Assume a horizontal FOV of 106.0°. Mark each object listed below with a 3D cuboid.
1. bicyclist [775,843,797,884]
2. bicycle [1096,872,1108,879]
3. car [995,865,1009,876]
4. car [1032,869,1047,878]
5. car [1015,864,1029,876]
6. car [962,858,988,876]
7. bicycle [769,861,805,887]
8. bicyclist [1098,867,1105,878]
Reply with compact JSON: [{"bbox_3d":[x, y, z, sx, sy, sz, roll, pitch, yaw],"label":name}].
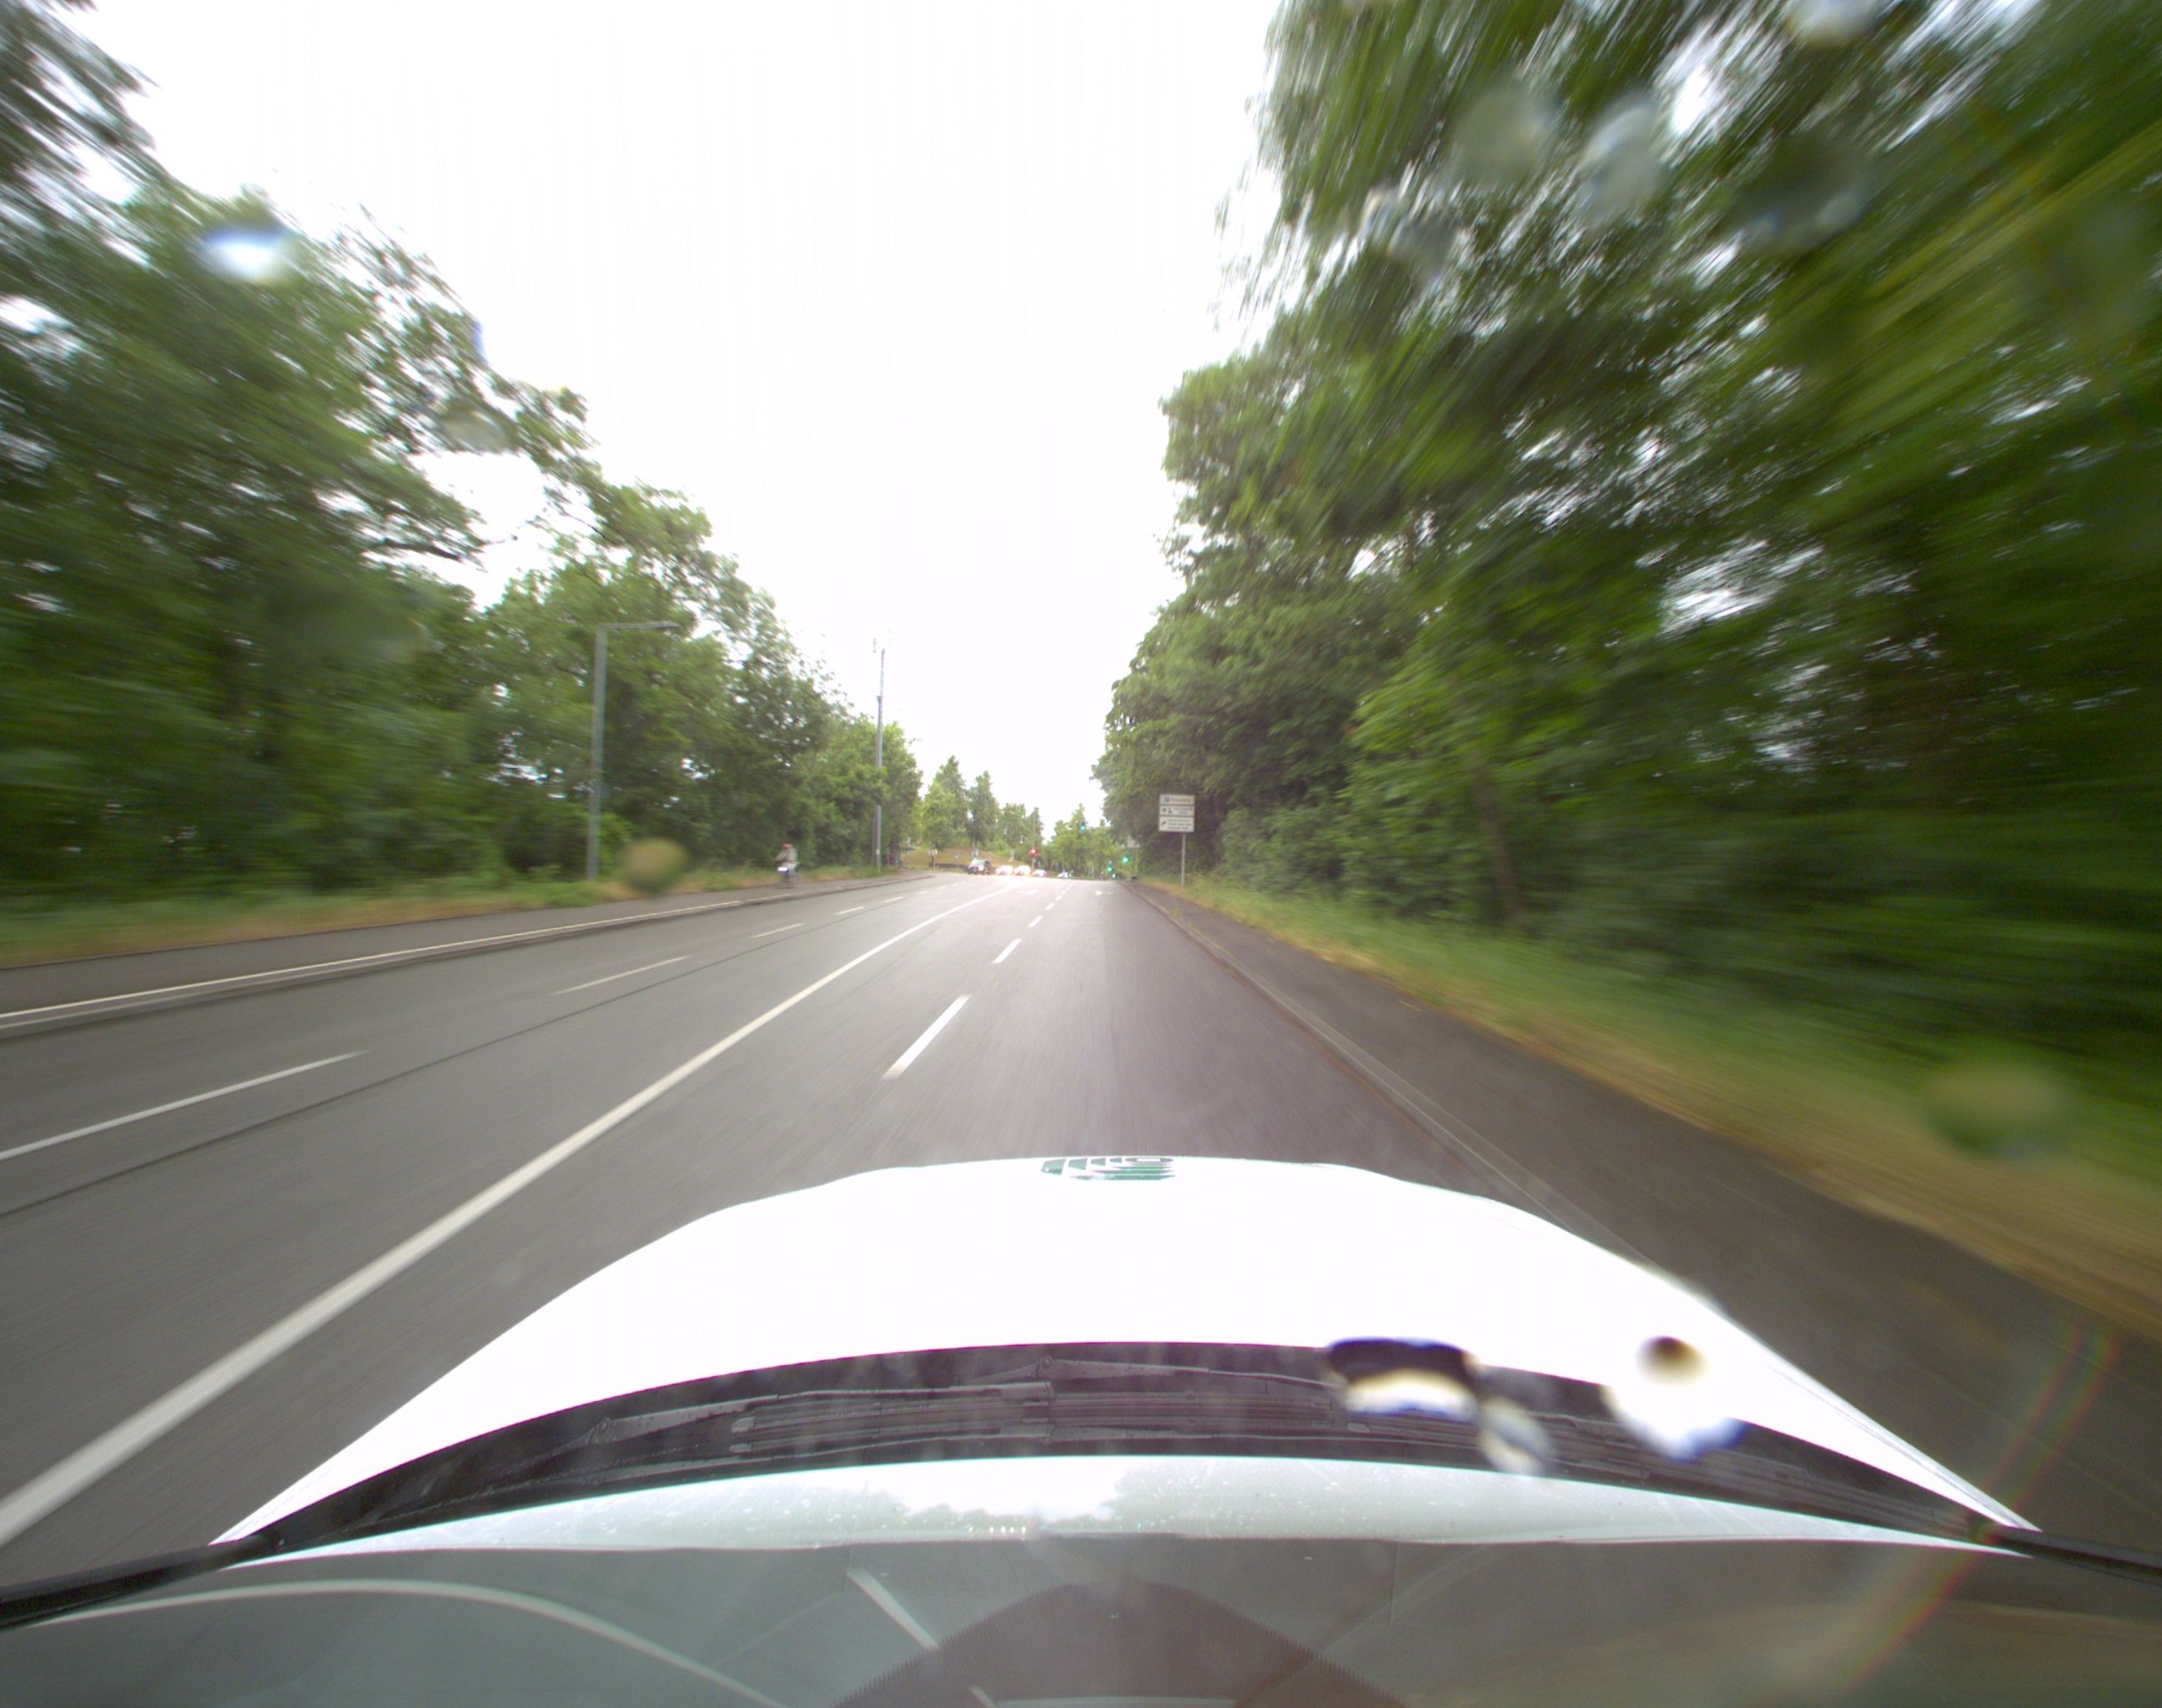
[{"bbox_3d":[-11.693,0.376,32.301,0.576,1.586,0.701,-1,-1,6],"label":"bicyclist"},{"bbox_3d":[3.598,3.695,140.295,2.151,1.143,0.547,5,-4,-41],"label":"bicycle"},{"bbox_3d":[-10.665,2.234,110.184,1.628,1.394,3.994,1,-1,-4],"label":"car"},{"bbox_3d":[-6.783,3.138,134.030,1.866,1.374,4.390,1,-1,5],"label":"car"},{"bbox_3d":[-7.672,2.099,105.486,1.698,1.427,4.071,2,-1,-5],"label":"car"},{"bbox_3d":[-12.568,1.506,96.871,2.095,1.946,5.160,5,0,1],"label":"car"},{"bbox_3d":[-11.647,0.778,32.363,0.450,1.004,2.021,2,0,7],"label":"bicycle"},{"bbox_3d":[3.551,3.218,140.259,0.805,1.753,0.716,6,-7,-41],"label":"bicyclist"}]
